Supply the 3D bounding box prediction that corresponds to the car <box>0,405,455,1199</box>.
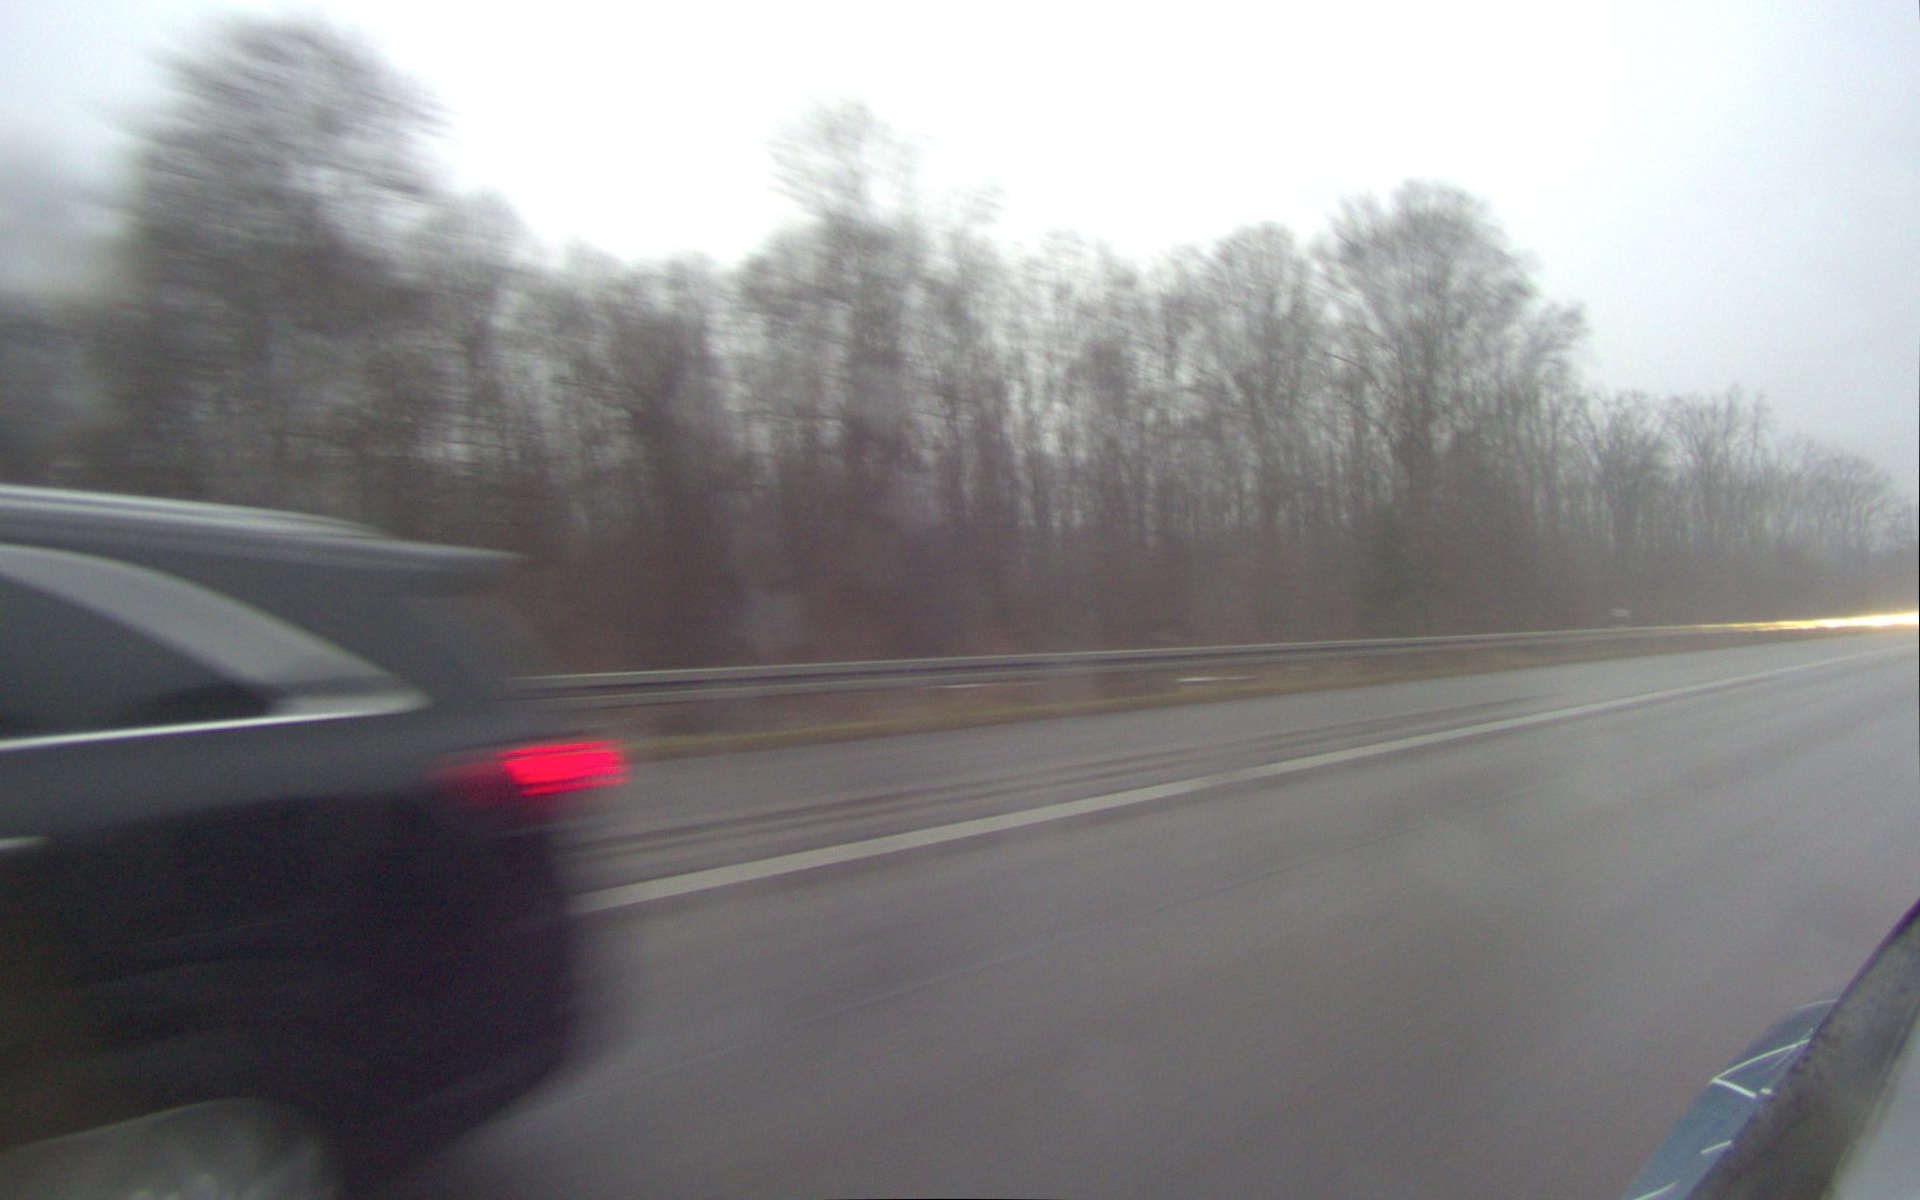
[{"bbox_3d":[-3.287,0.559,1.269,4.383,1.719,2.074,0,0,-41],"label":"car"}]
